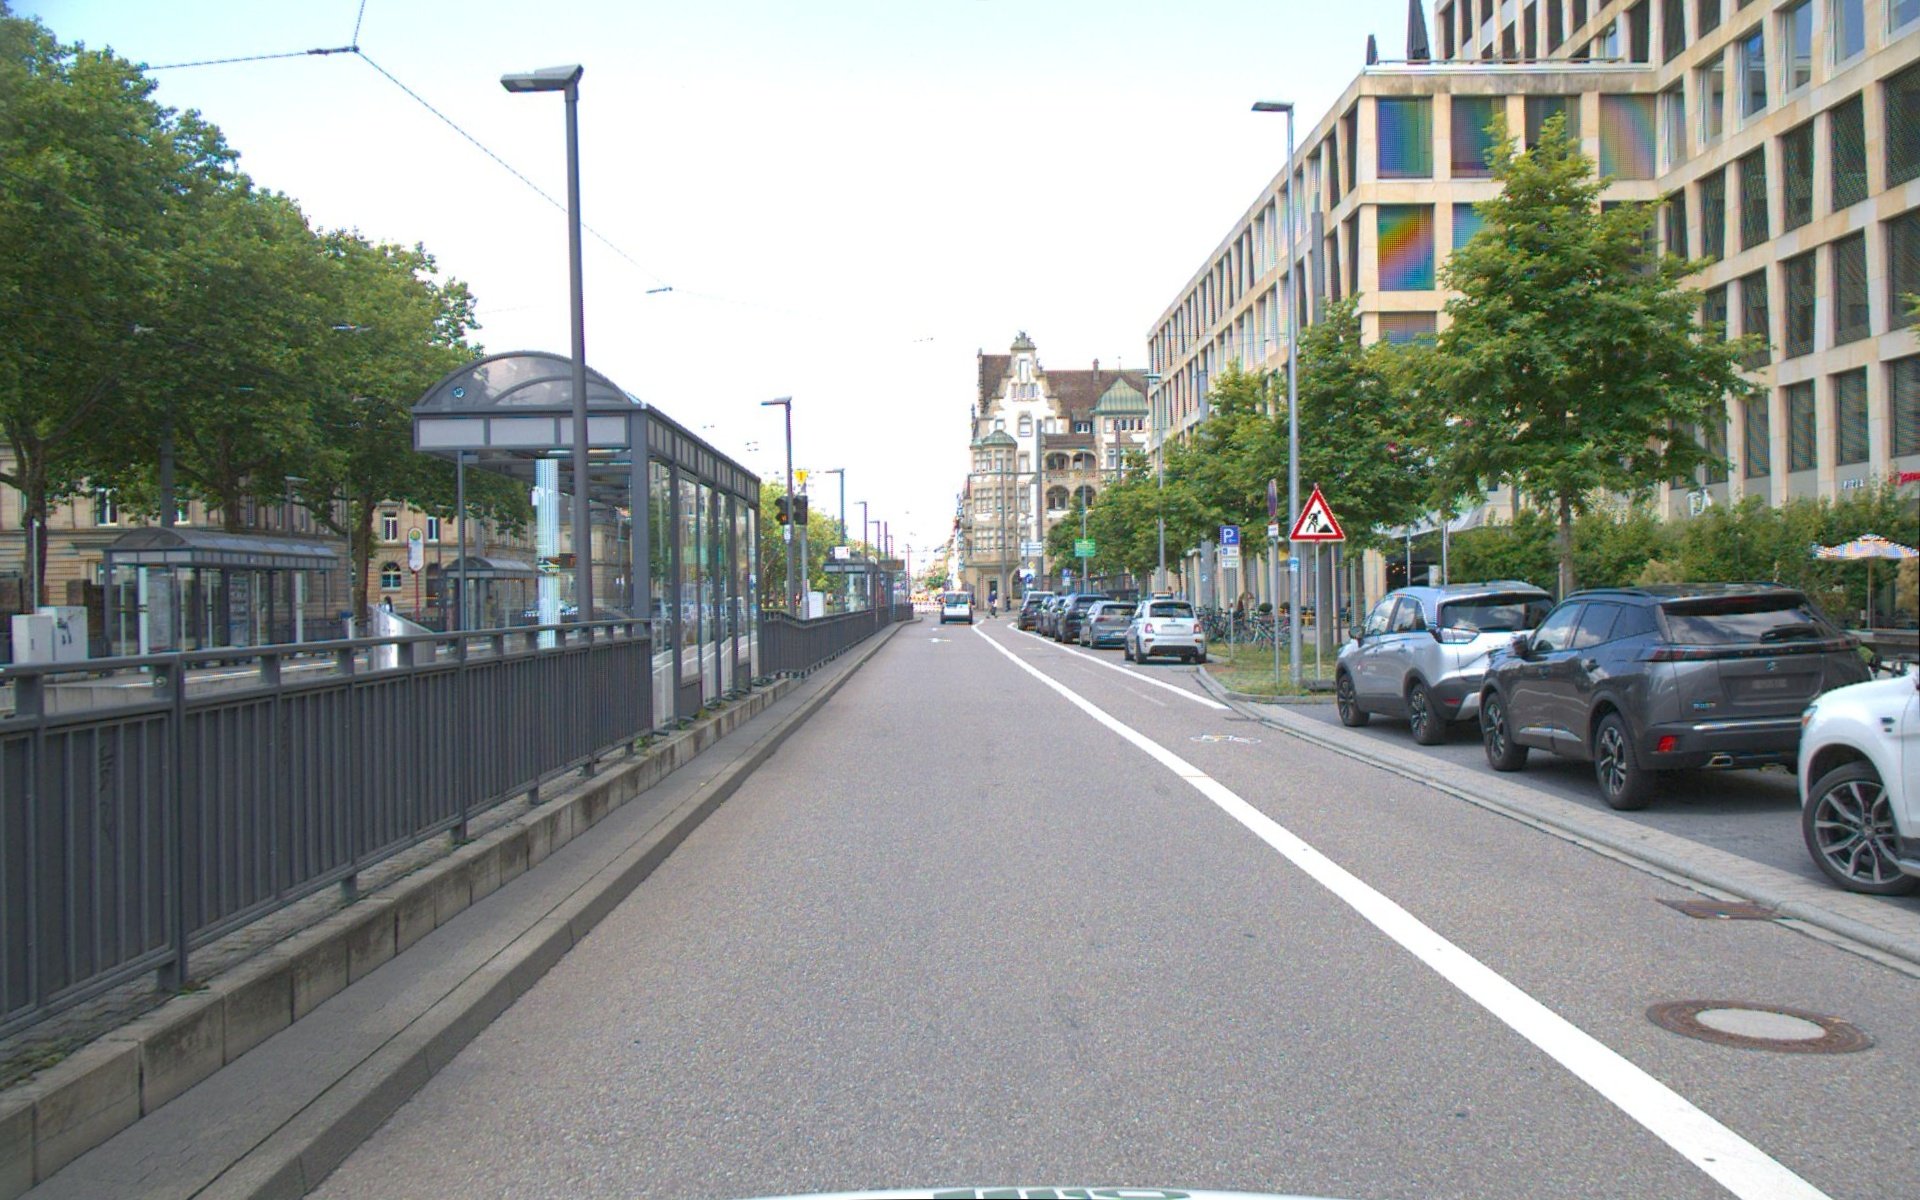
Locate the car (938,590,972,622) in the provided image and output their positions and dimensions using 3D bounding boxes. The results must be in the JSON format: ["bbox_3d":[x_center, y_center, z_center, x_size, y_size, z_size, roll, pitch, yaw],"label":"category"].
[{"bbox_3d":[-0.305,0.314,93.519,1.831,1.777,3.999,0,0,-1],"label":"car"}]

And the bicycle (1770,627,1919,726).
[{"bbox_3d":[8.872,0.754,16.335,1.465,0.933,0.505,-1,-3,1],"label":"bicycle"}]

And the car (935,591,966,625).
[{"bbox_3d":[-0.600,0.469,102.549,1.831,2.056,3.999,0,0,-1],"label":"car"}]

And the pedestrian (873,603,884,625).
[{"bbox_3d":[-4.218,0.723,85.739,0.503,1.160,0.501,-3,0,-1],"label":"pedestrian"}]

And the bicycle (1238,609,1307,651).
[{"bbox_3d":[8.445,0.815,44.661,1.785,1.094,0.275,-1,0,3],"label":"bicycle"}]

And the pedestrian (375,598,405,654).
[{"bbox_3d":[-15.881,0.718,46.085,0.692,1.539,0.797,-2,0,-23],"label":"pedestrian"}]

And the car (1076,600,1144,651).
[{"bbox_3d":[4.589,0.756,51.078,1.559,1.459,4.105,1,0,-3],"label":"car"}]

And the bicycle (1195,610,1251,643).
[{"bbox_3d":[8.388,0.834,52.840,1.717,1.003,0.325,-2,0,-2],"label":"bicycle"}]

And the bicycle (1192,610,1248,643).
[{"bbox_3d":[8.347,0.836,53.181,1.717,1.003,0.325,-2,0,-2],"label":"bicycle"}]

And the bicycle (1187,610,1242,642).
[{"bbox_3d":[8.283,0.839,53.887,1.717,1.003,0.325,-2,0,-2],"label":"bicycle"}]

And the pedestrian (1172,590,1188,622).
[{"bbox_3d":[12.197,0.331,91.699,0.745,1.699,0.659,-1,0,-2],"label":"pedestrian"}]

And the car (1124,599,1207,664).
[{"bbox_3d":[4.923,0.728,39.972,1.558,1.486,3.613,0,0,0],"label":"car"}]

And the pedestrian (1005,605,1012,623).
[{"bbox_3d":[4.454,1.249,152.124,0.476,1.637,0.362,-3,0,-2],"label":"pedestrian"}]

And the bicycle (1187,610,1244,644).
[{"bbox_3d":[8.028,0.851,52.062,1.717,1.003,0.325,-2,0,-2],"label":"bicycle"}]

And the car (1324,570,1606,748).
[{"bbox_3d":[5.417,0.579,18.296,1.652,1.662,3.988,-3,0,-3],"label":"car"}]

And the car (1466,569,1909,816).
[{"bbox_3d":[5.461,0.610,13.009,1.651,1.575,3.925,-2,0,-1],"label":"car"}]

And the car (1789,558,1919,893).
[{"bbox_3d":[5.496,0.581,7.134,1.651,1.634,4.151,-2,0,-1],"label":"car"}]

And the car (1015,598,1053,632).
[{"bbox_3d":[3.447,0.694,77.784,1.414,1.496,4.090,1,0,-3],"label":"car"}]

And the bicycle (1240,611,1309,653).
[{"bbox_3d":[8.435,0.852,44.359,1.785,1.094,0.275,-1,0,3],"label":"bicycle"}]

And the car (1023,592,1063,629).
[{"bbox_3d":[4.147,0.514,82.797,1.675,1.828,3.360,1,0,-3],"label":"car"}]

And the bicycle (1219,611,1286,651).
[{"bbox_3d":[8.297,0.873,47.004,1.785,1.094,0.686,-1,0,3],"label":"bicycle"}]

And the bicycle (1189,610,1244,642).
[{"bbox_3d":[8.291,0.838,53.539,1.717,1.003,0.325,-2,0,-2],"label":"bicycle"}]

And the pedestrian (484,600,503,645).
[{"bbox_3d":[-16.627,0.811,58.977,0.490,1.585,0.643,-1,0,-1],"label":"pedestrian"}]

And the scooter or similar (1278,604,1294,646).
[{"bbox_3d":[9.689,0.738,49.168,0.253,1.237,1.015,-1,0,-1],"label":"scooter or similar"}]

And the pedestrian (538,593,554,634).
[{"bbox_3d":[-17.536,0.555,70.043,0.490,1.713,0.643,-2,0,-1],"label":"pedestrian"}]

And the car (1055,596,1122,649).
[{"bbox_3d":[4.365,0.742,57.003,1.703,1.698,4.838,1,0,-3],"label":"car"}]

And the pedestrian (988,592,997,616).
[{"bbox_3d":[2.229,0.266,113.826,0.523,1.599,0.542,-3,0,-3],"label":"pedestrian"}]
